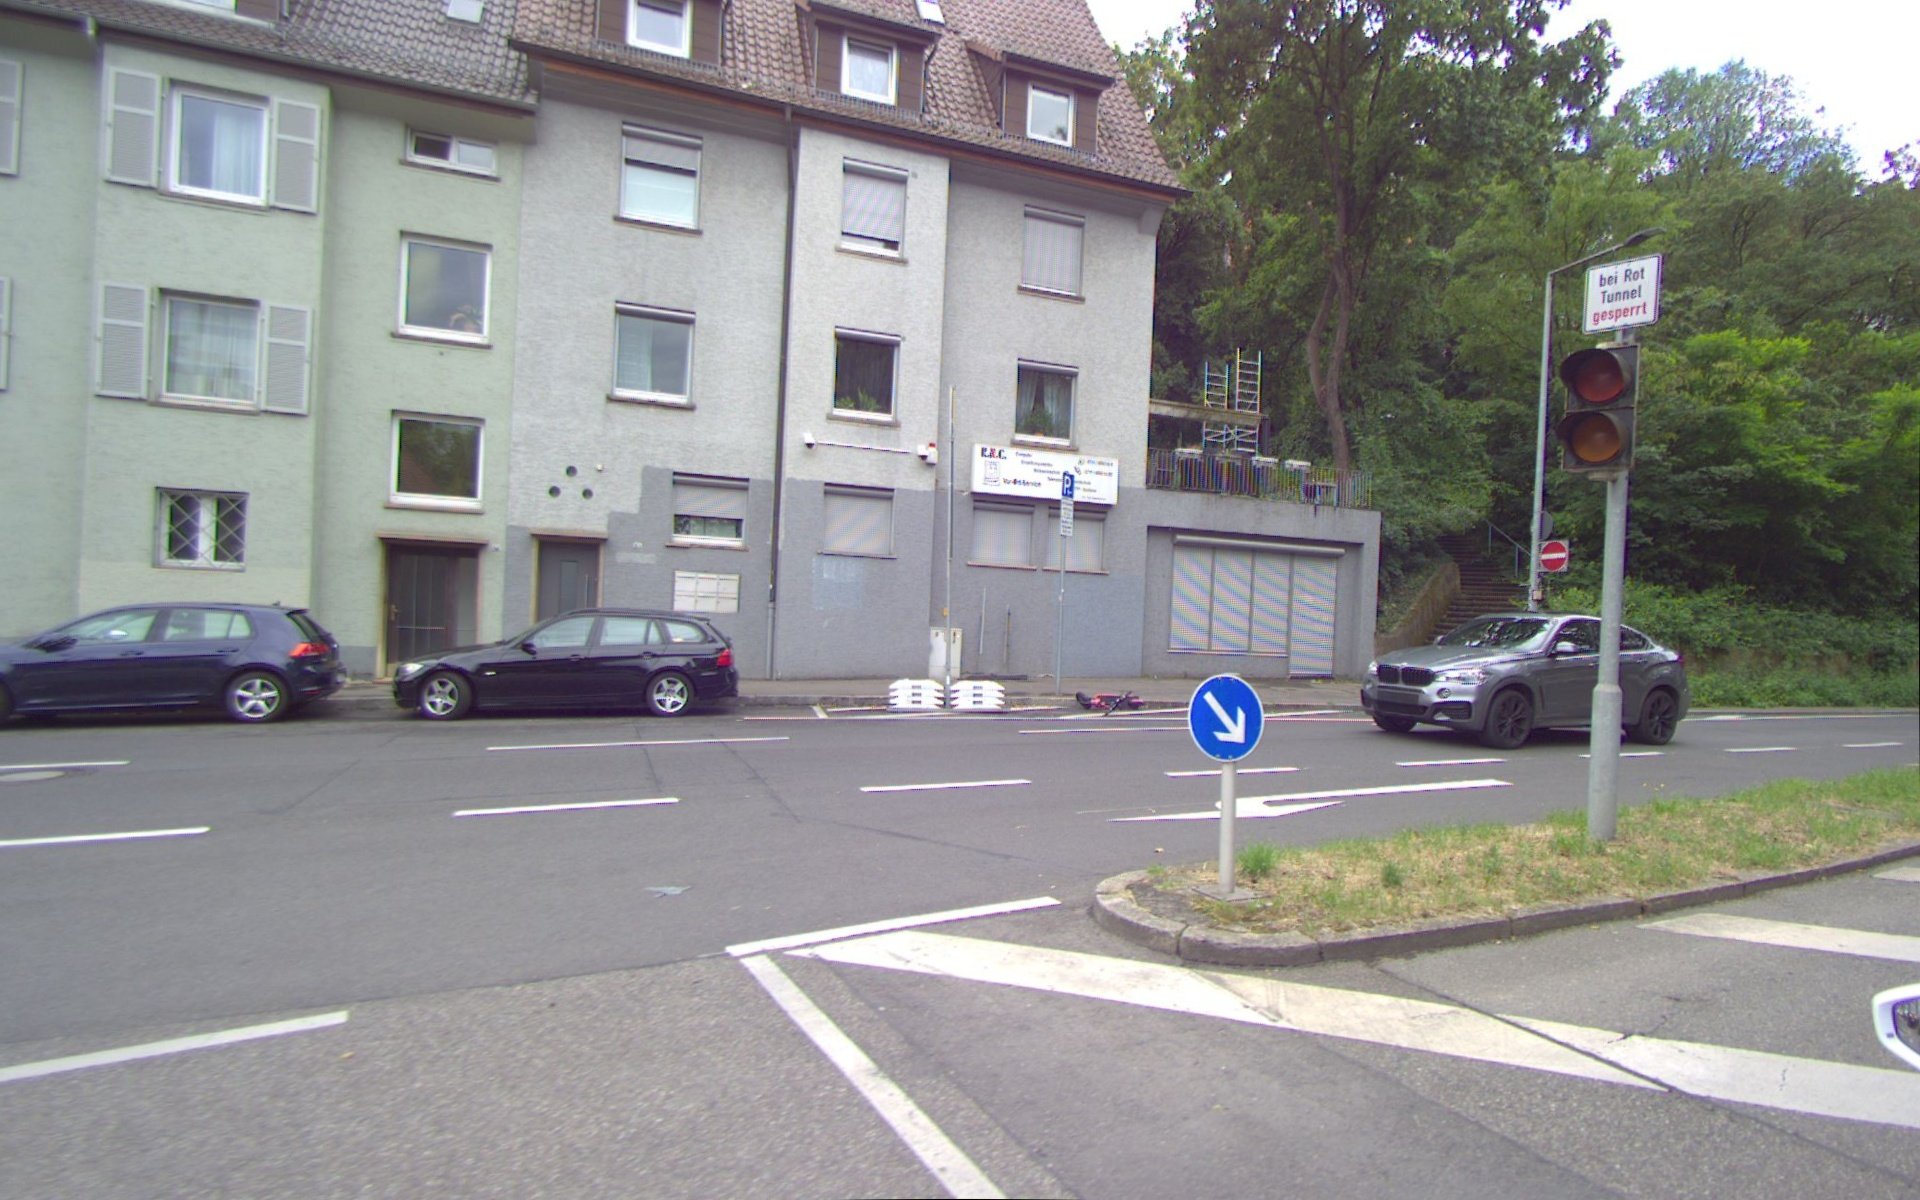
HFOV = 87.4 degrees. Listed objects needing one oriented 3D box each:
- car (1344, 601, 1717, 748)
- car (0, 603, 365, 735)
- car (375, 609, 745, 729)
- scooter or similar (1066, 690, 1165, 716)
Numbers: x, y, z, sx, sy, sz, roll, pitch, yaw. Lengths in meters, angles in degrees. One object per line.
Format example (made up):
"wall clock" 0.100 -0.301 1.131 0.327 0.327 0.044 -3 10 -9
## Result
"car" 7.752 0.933 13.599 4.867 1.721 1.865 2 0 -24
"car" -9.912 0.786 12.410 4.152 1.442 1.989 1 0 -24
"car" -5.361 0.860 13.949 4.448 1.419 1.991 0 0 -20
"scooter or similar" 2.429 1.605 15.732 1.088 0.292 1.116 2 -2 -35
